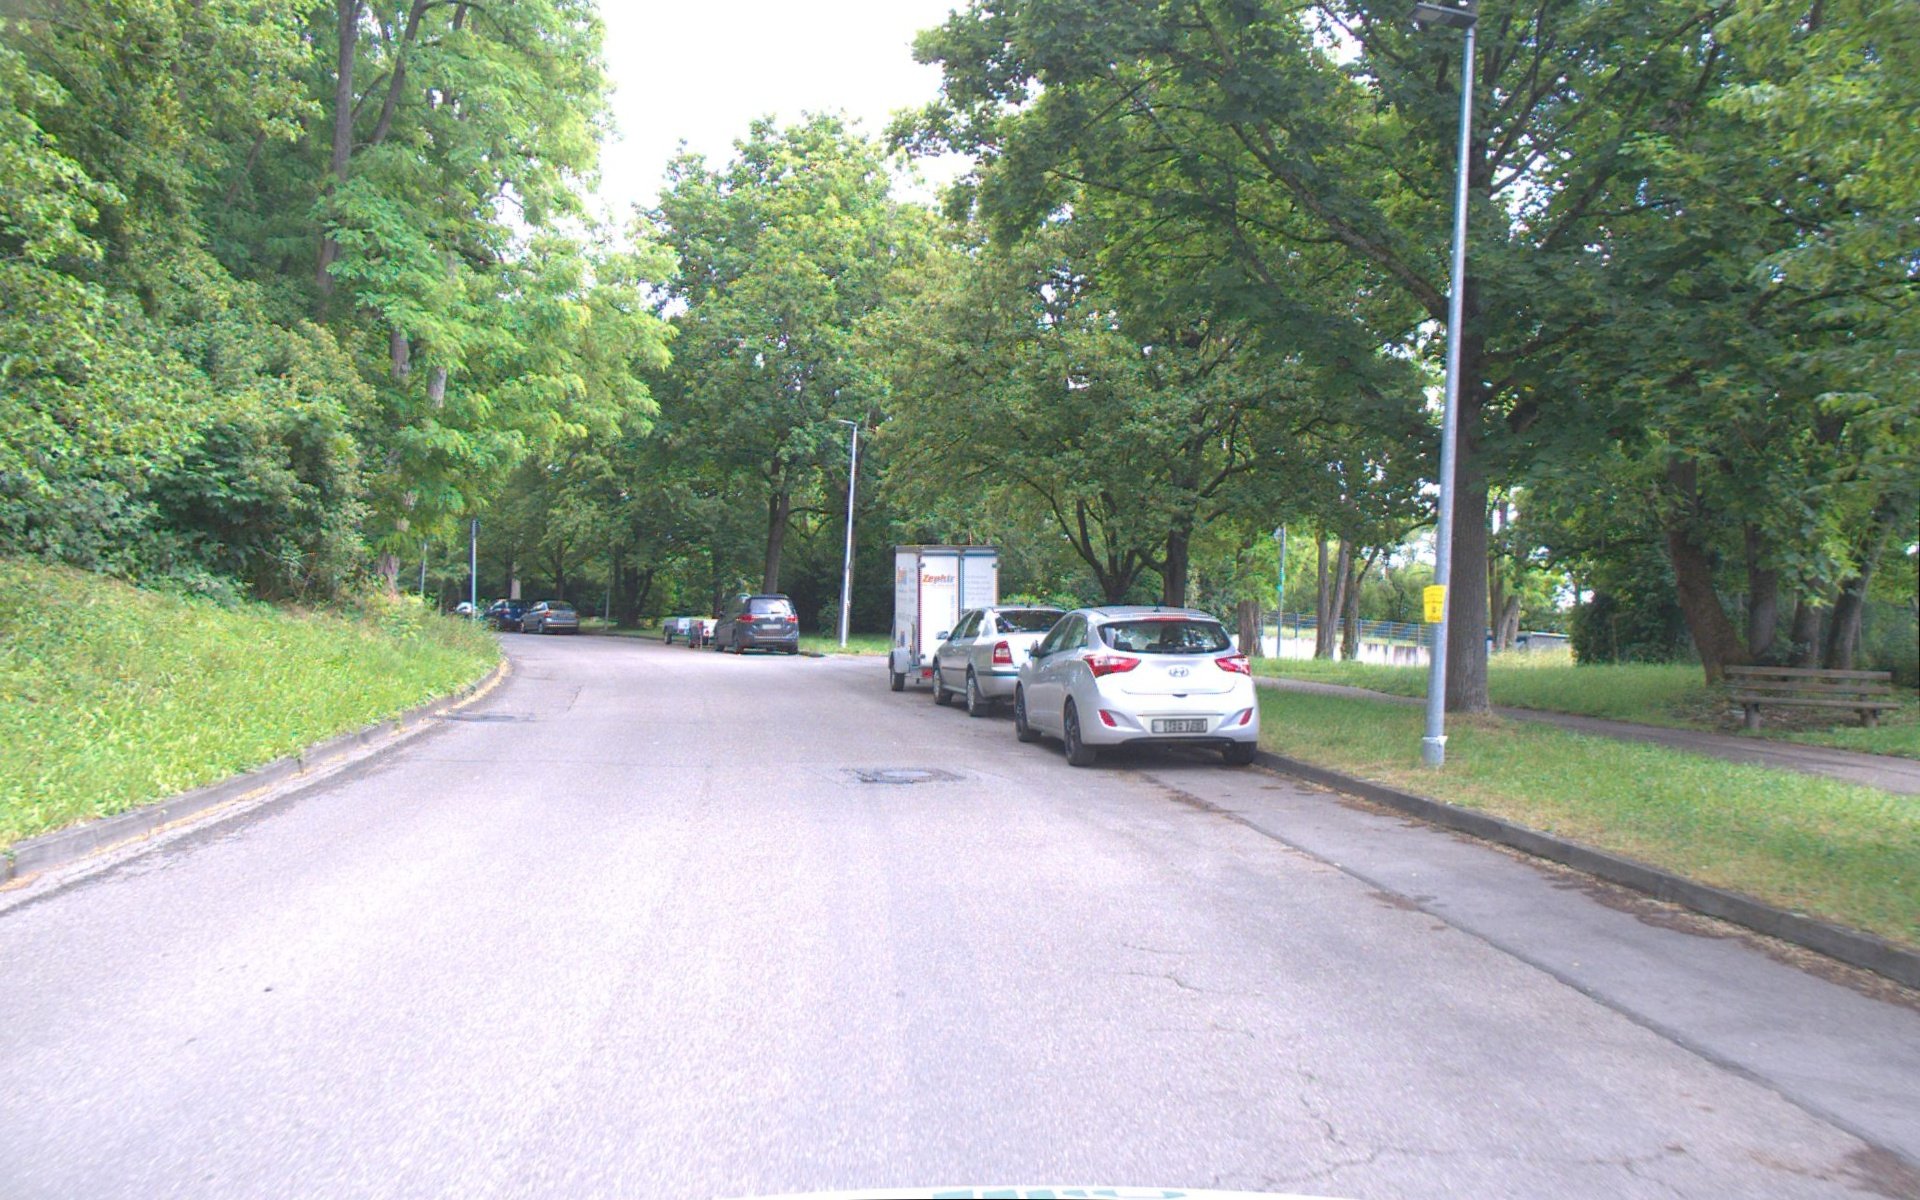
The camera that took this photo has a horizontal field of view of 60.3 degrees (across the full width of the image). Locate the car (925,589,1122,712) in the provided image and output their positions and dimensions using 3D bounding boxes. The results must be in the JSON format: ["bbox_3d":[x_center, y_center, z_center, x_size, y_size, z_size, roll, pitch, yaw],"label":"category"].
[{"bbox_3d":[0.772,0.664,23.265,1.710,1.552,4.621,1,-1,-12],"label":"car"}]

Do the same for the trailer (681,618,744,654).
[{"bbox_3d":[-7.902,1.119,52.616,1.336,0.986,3.873,3,-1,-18],"label":"trailer"}]

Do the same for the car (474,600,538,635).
[{"bbox_3d":[-21.543,0.854,78.405,1.698,1.536,4.133,4,-3,-33],"label":"car"}]

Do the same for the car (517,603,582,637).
[{"bbox_3d":[-18.076,0.909,72.735,1.701,1.457,3.905,1,-1,-32],"label":"car"}]

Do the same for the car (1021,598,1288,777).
[{"bbox_3d":[1.801,0.789,16.601,1.865,1.502,4.055,3,-1,-4],"label":"car"}]

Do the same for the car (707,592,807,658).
[{"bbox_3d":[-5.809,0.712,46.925,1.749,1.692,4.812,3,-2,-20],"label":"car"}]

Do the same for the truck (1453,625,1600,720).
[{"bbox_3d":[26.397,3.438,76.780,2.652,4.068,9.505,0,-4,44],"label":"truck"}]

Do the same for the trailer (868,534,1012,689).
[{"bbox_3d":[-0.422,0.202,28.538,1.730,2.469,3.875,1,0,-12],"label":"trailer"}]

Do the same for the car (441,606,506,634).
[{"bbox_3d":[-24.209,0.999,82.293,1.736,1.360,4.359,2,-2,-36],"label":"car"}]

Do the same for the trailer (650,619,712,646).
[{"bbox_3d":[-9.656,1.131,57.050,1.345,0.862,3.254,4,-3,-23],"label":"trailer"}]
